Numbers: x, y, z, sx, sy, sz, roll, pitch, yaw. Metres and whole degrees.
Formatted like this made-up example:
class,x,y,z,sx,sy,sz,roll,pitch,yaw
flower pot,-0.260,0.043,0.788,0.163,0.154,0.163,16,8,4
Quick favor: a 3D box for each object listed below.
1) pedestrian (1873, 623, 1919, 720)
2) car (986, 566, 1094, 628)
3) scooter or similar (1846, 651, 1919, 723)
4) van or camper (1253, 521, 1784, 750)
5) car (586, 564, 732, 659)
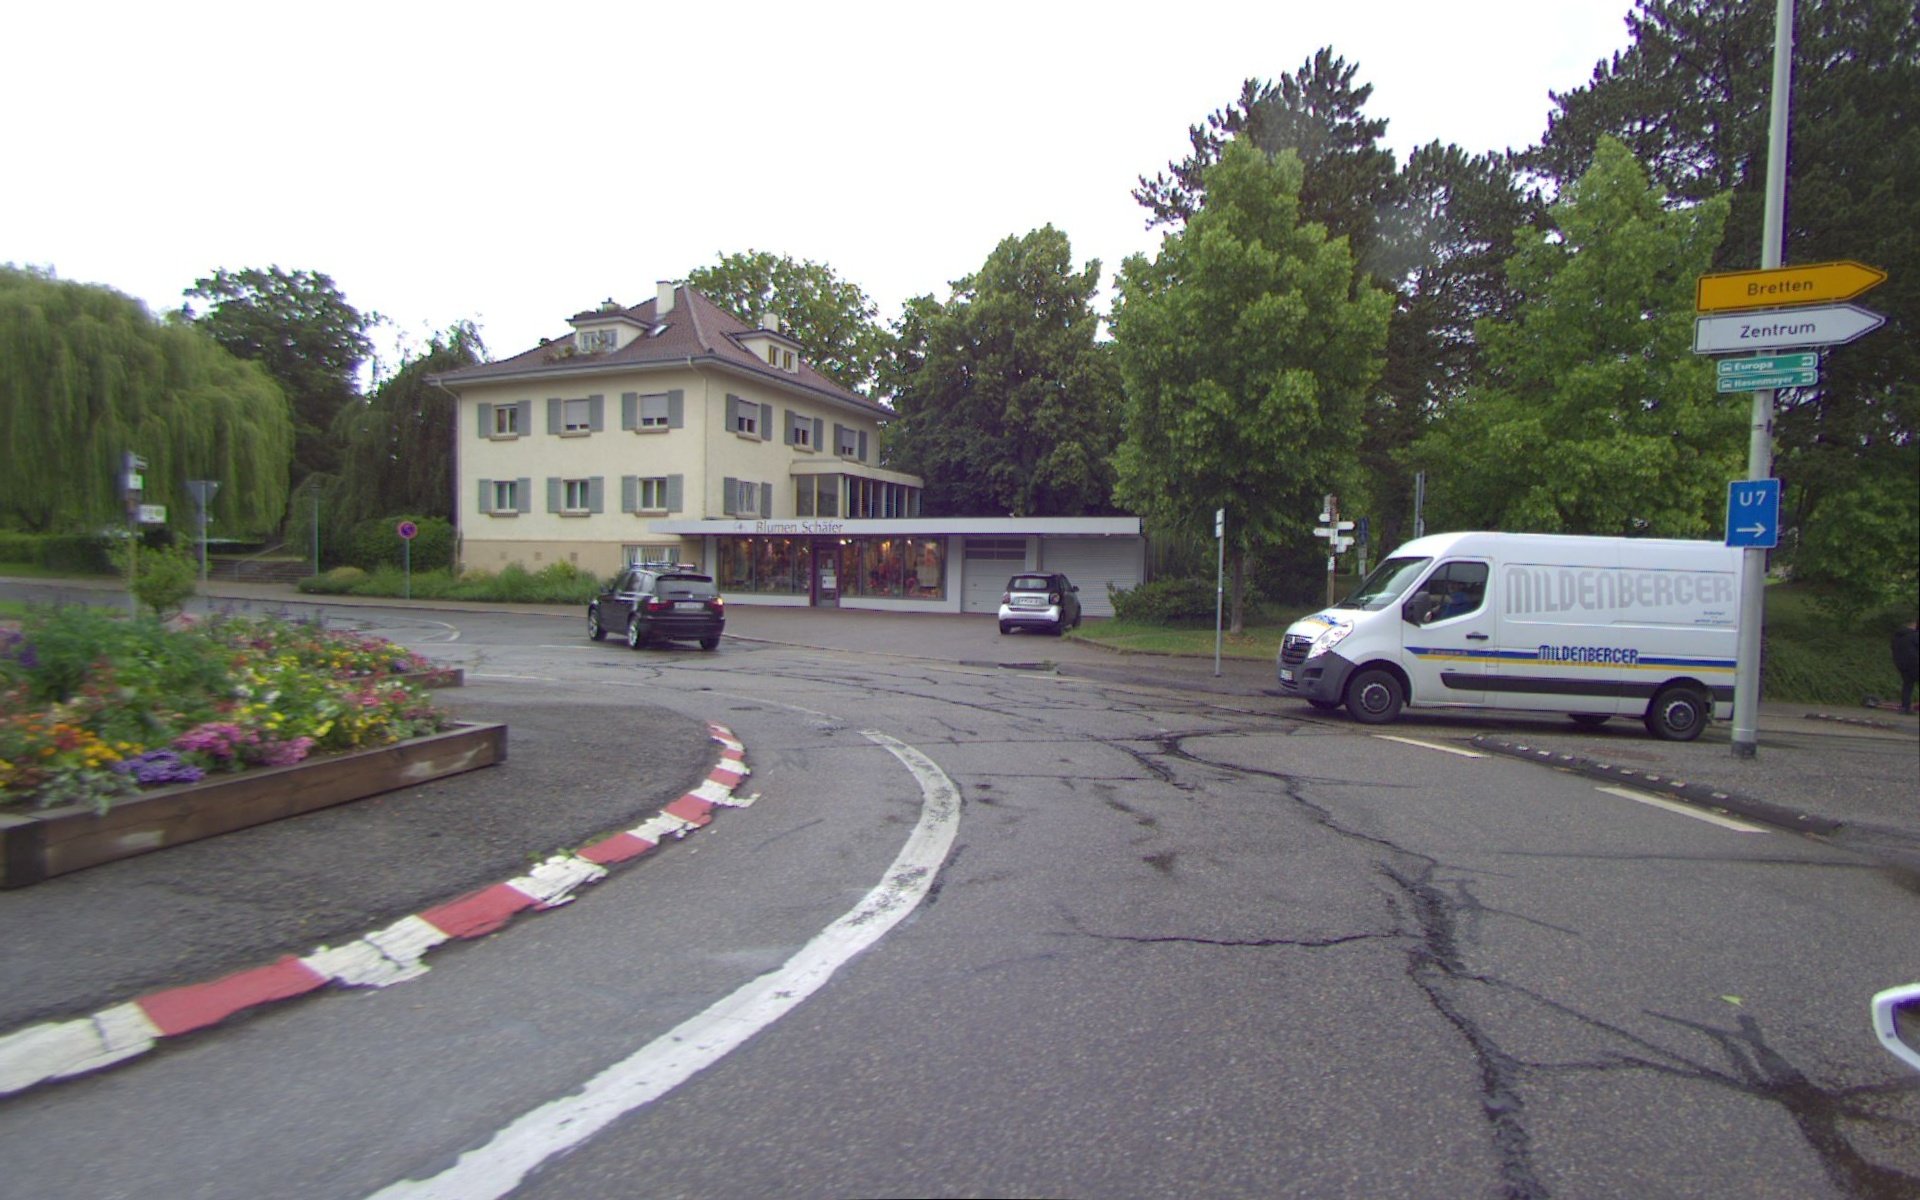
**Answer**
class,x,y,z,sx,sy,sz,roll,pitch,yaw
pedestrian,17.855,1.342,18.959,0.810,1.748,0.732,2,2,-39
car,2.199,-0.092,26.686,1.783,1.506,3.829,1,1,22
scooter or similar,17.675,1.658,19.126,1.291,1.267,0.441,3,1,-11
van or camper,6.975,0.406,13.108,5.557,2.410,2.201,3,1,1
car,-6.524,0.212,21.476,1.753,1.825,4.204,1,0,-35
